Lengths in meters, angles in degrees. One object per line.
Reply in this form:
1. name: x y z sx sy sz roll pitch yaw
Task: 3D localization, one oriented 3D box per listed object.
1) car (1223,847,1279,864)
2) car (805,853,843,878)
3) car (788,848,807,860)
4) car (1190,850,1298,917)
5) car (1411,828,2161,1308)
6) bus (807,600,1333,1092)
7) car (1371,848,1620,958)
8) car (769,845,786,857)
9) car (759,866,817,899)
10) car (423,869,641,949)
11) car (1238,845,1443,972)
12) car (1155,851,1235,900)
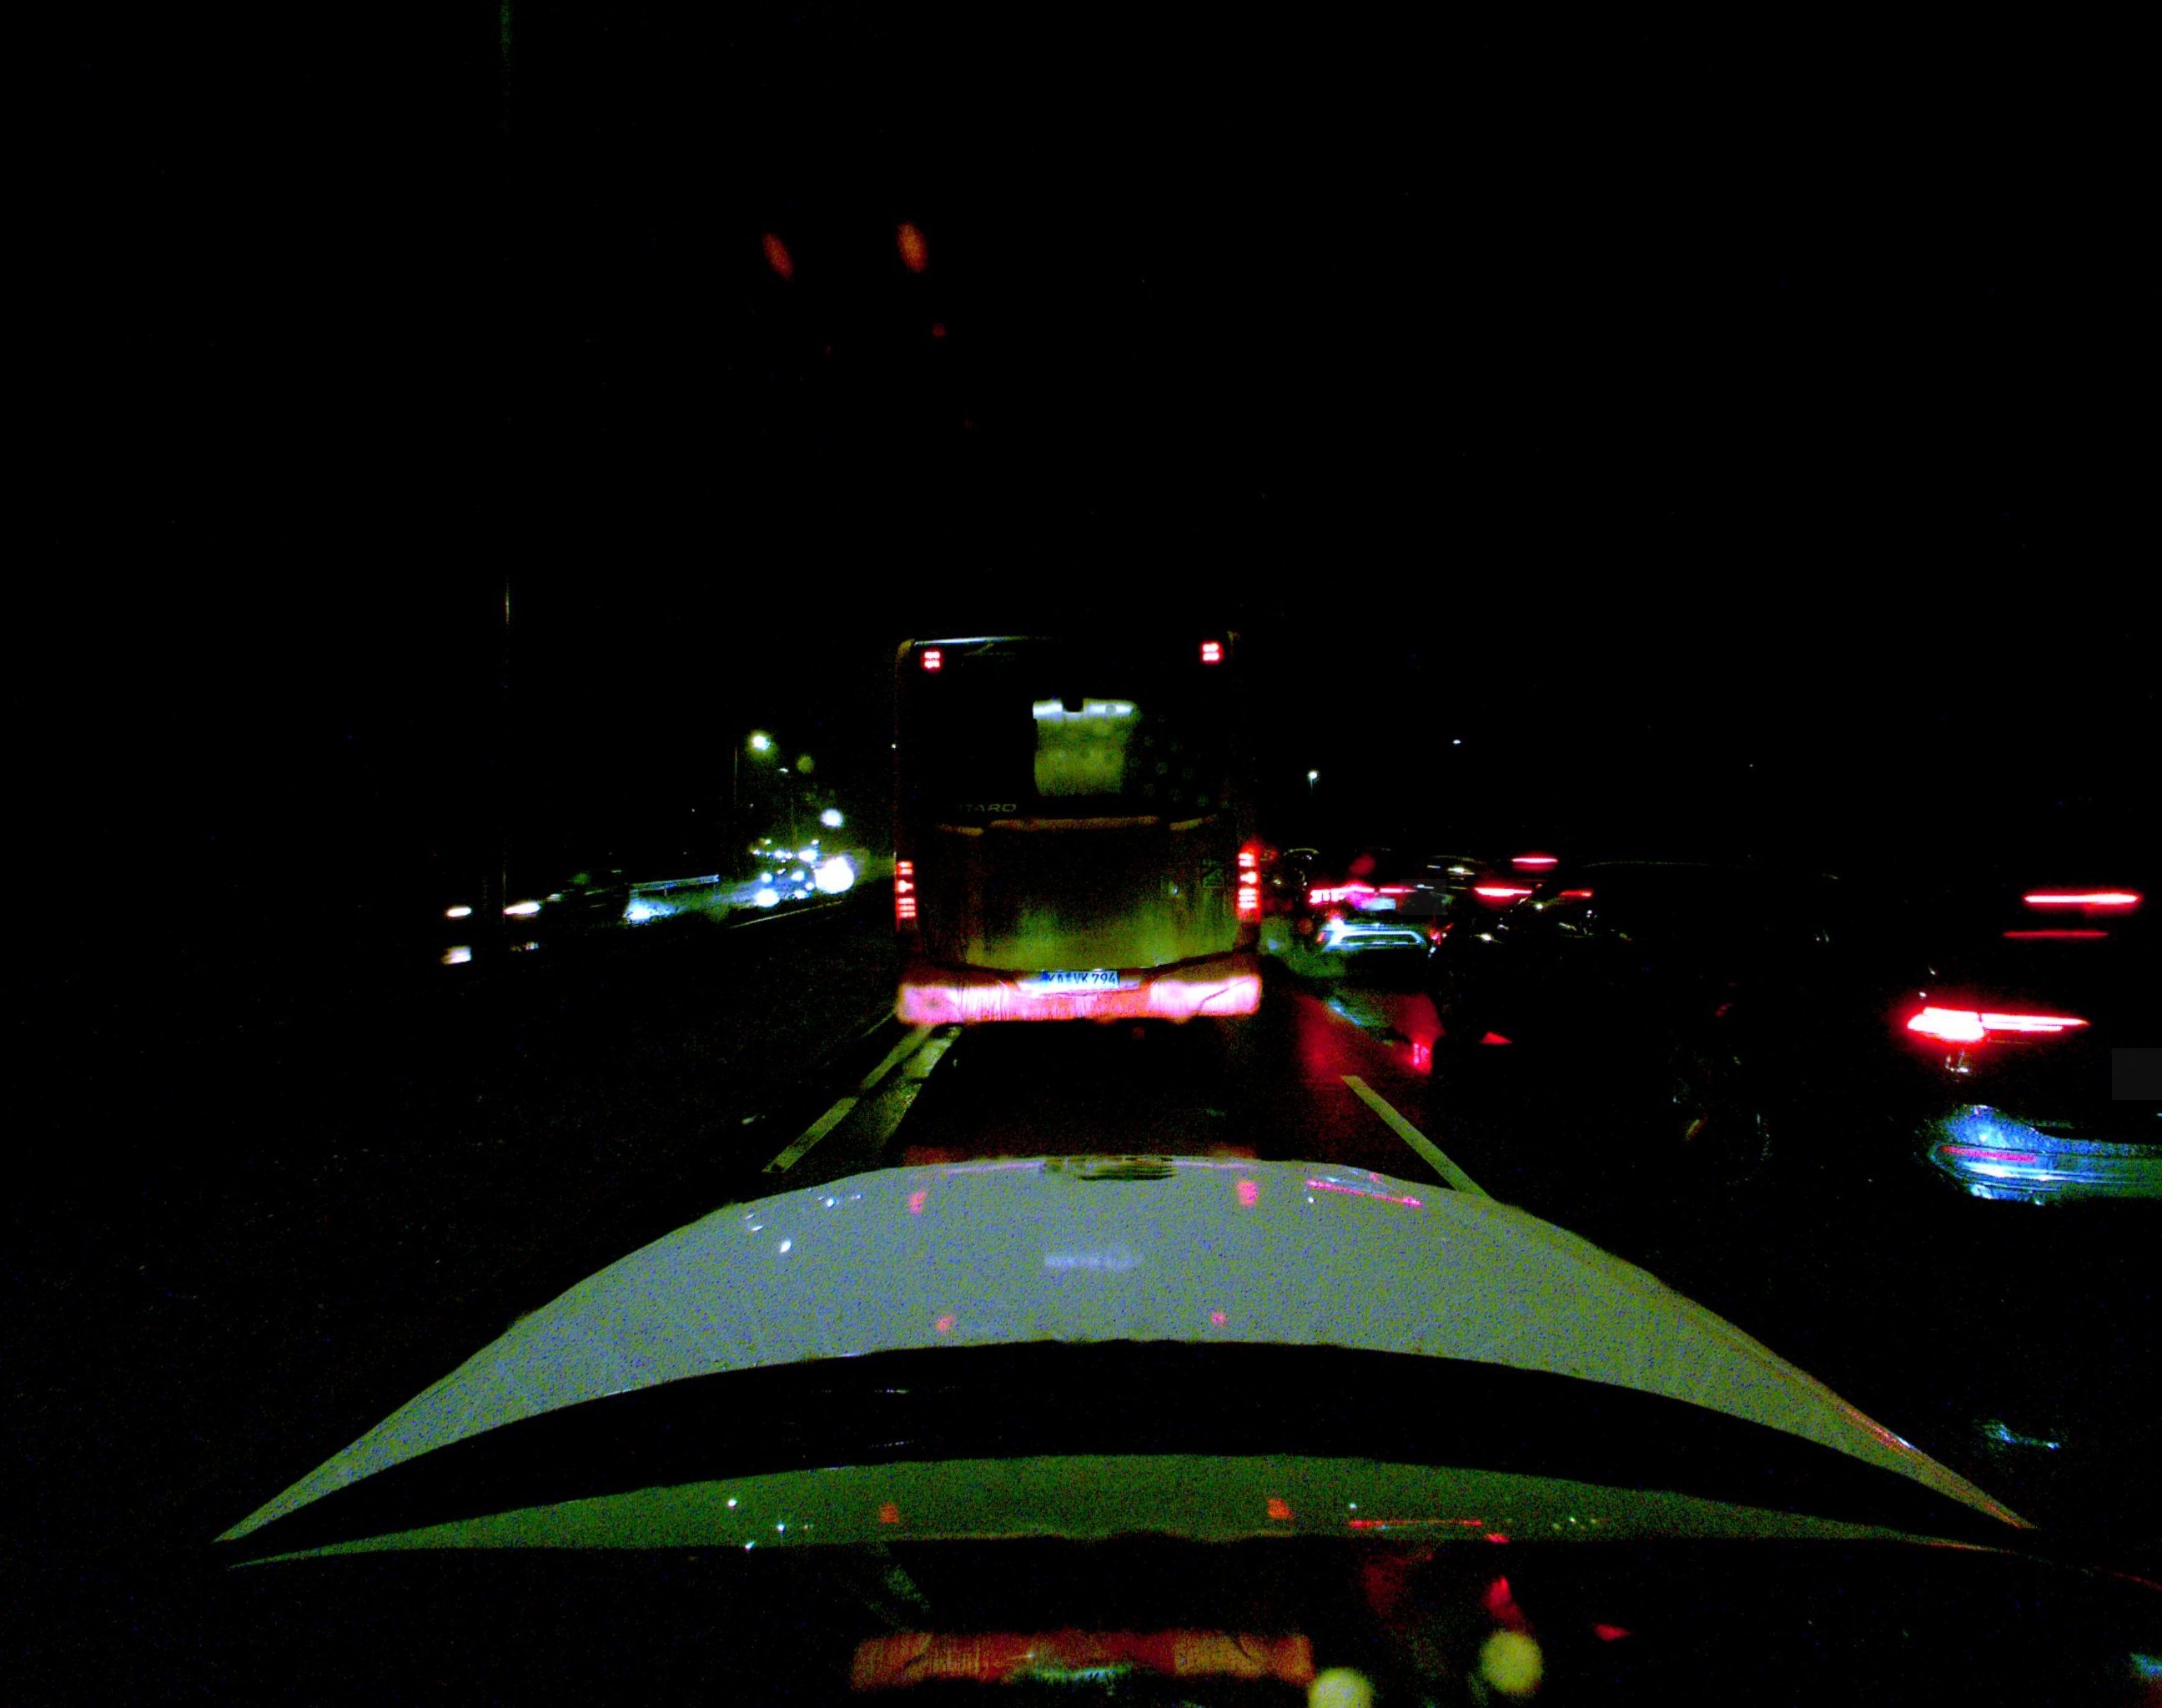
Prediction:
1. car: 13.444 0.111 64.668 4.037 1.345 1.744 0 2 -6
2. car: -17.140 0.769 54.577 1.870 1.607 4.233 -1 -1 -10
3. car: -33.668 0.016 96.532 1.808 1.482 3.785 0 -1 -24
4. car: 3.601 0.606 18.657 1.680 1.330 3.960 -2 0 1
5. car: 3.666 0.708 4.864 1.666 1.506 4.561 1 -1 2
6. bus: -0.035 -0.156 9.974 3.274 3.050 9.544 -2 1 0
7. car: 6.540 0.693 13.499 1.986 1.481 4.339 1 0 1
8. car: -40.242 -0.382 107.935 1.750 1.502 3.965 0 -1 -26
9. car: -14.119 1.330 39.506 1.711 1.423 4.653 -2 0 -9
10. car: -12.340 1.144 18.794 1.990 1.508 4.832 -2 0 -4
11. car: 3.535 0.677 11.857 1.672 1.521 3.959 0 -1 -1
12. car: 3.563 0.656 26.138 1.987 1.441 3.999 0 -1 0
